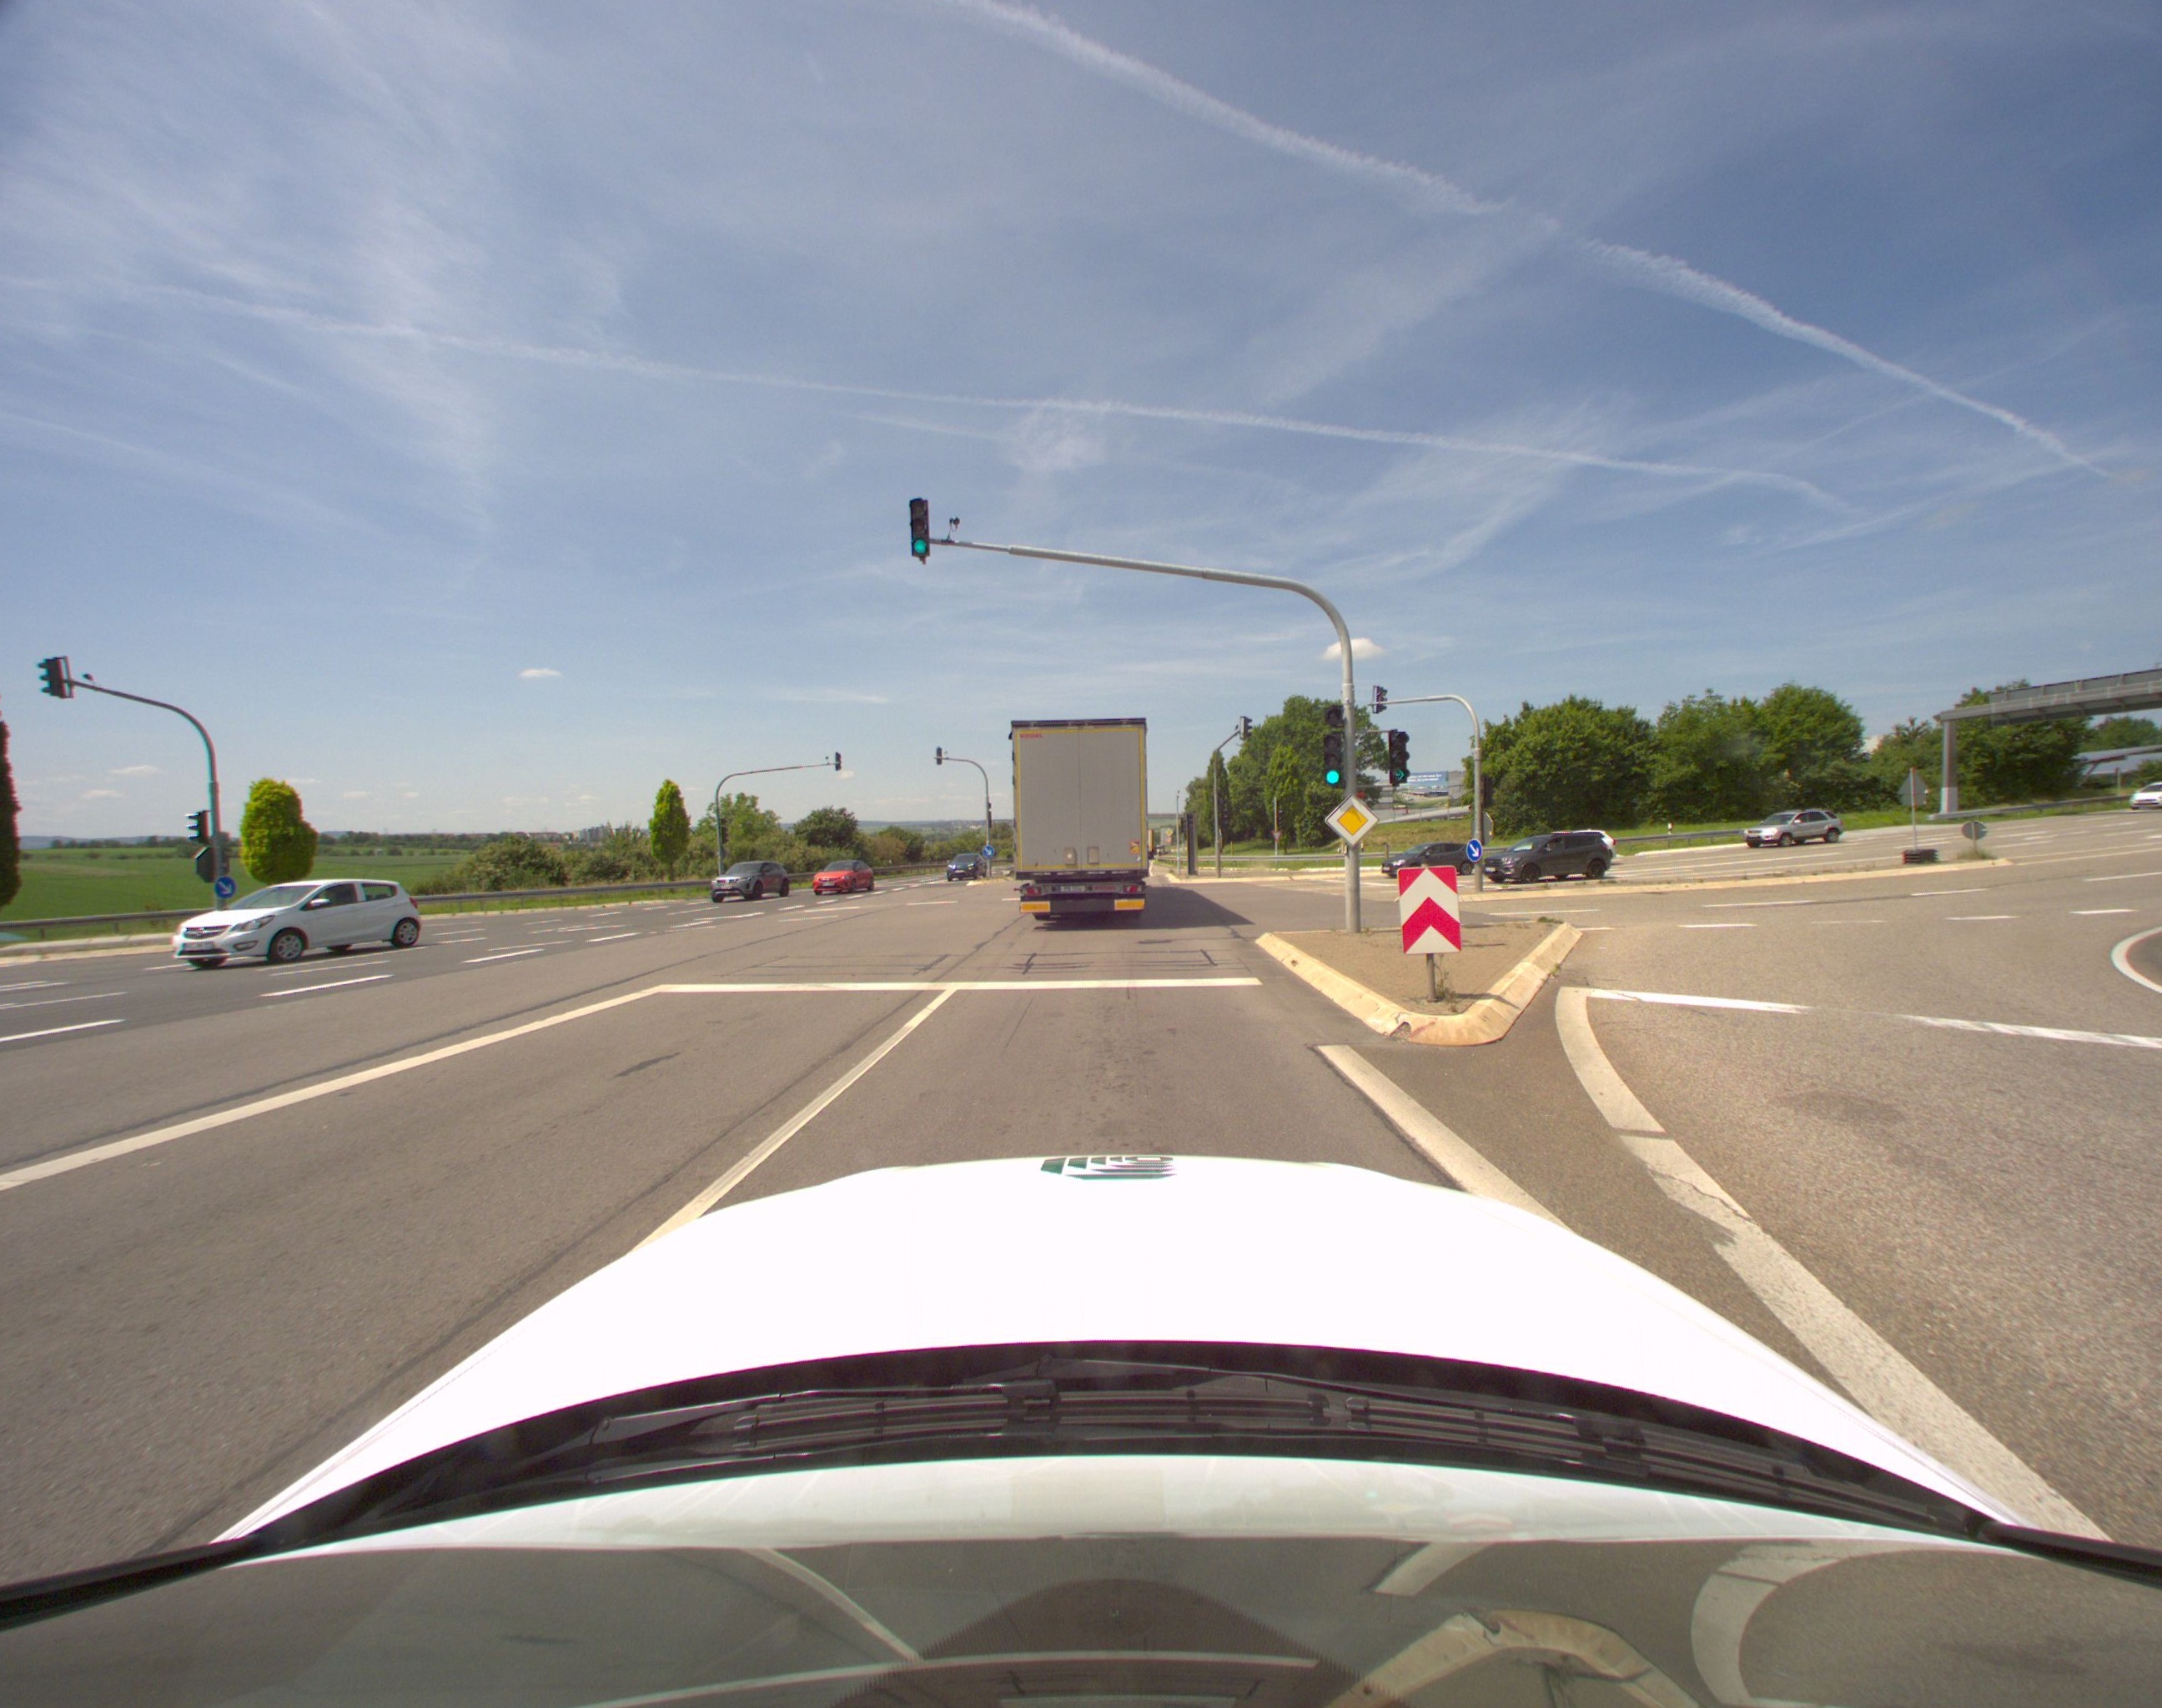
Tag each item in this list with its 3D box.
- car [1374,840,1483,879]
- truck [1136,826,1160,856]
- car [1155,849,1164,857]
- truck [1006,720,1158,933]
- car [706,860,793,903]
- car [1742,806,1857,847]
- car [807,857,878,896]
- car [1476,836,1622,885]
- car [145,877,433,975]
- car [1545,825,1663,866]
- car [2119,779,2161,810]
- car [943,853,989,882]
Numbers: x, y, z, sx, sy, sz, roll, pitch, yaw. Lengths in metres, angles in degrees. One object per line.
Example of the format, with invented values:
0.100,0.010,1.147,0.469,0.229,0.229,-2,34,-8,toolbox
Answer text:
14.890,0.230,34.968,3.984,1.510,1.712,-1,0,-8,car
9.077,-1.627,109.512,2.640,3.764,10.185,0,0,8,truck
16.070,-0.222,167.442,1.777,1.688,4.007,0,0,6,car
-0.052,-0.540,20.822,2.791,3.929,11.337,-1,0,-1,truck
-13.885,1.095,34.424,1.637,1.623,4.331,-3,-1,3,car
35.450,-1.348,40.232,4.355,1.655,1.832,-4,0,-8,car
-10.557,0.957,36.327,1.637,1.496,4.070,-3,0,4,car
16.438,0.208,28.690,4.358,1.510,1.710,-2,0,-10,car
-14.902,1.274,15.665,1.637,1.496,3.805,-3,-1,4,car
23.650,-0.369,36.884,4.355,1.592,1.775,-3,0,-8,car
62.070,-3.496,46.440,3.986,1.599,1.776,-5,0,-9,car
-6.516,0.740,46.453,1.748,1.469,4.199,-2,0,3,car
